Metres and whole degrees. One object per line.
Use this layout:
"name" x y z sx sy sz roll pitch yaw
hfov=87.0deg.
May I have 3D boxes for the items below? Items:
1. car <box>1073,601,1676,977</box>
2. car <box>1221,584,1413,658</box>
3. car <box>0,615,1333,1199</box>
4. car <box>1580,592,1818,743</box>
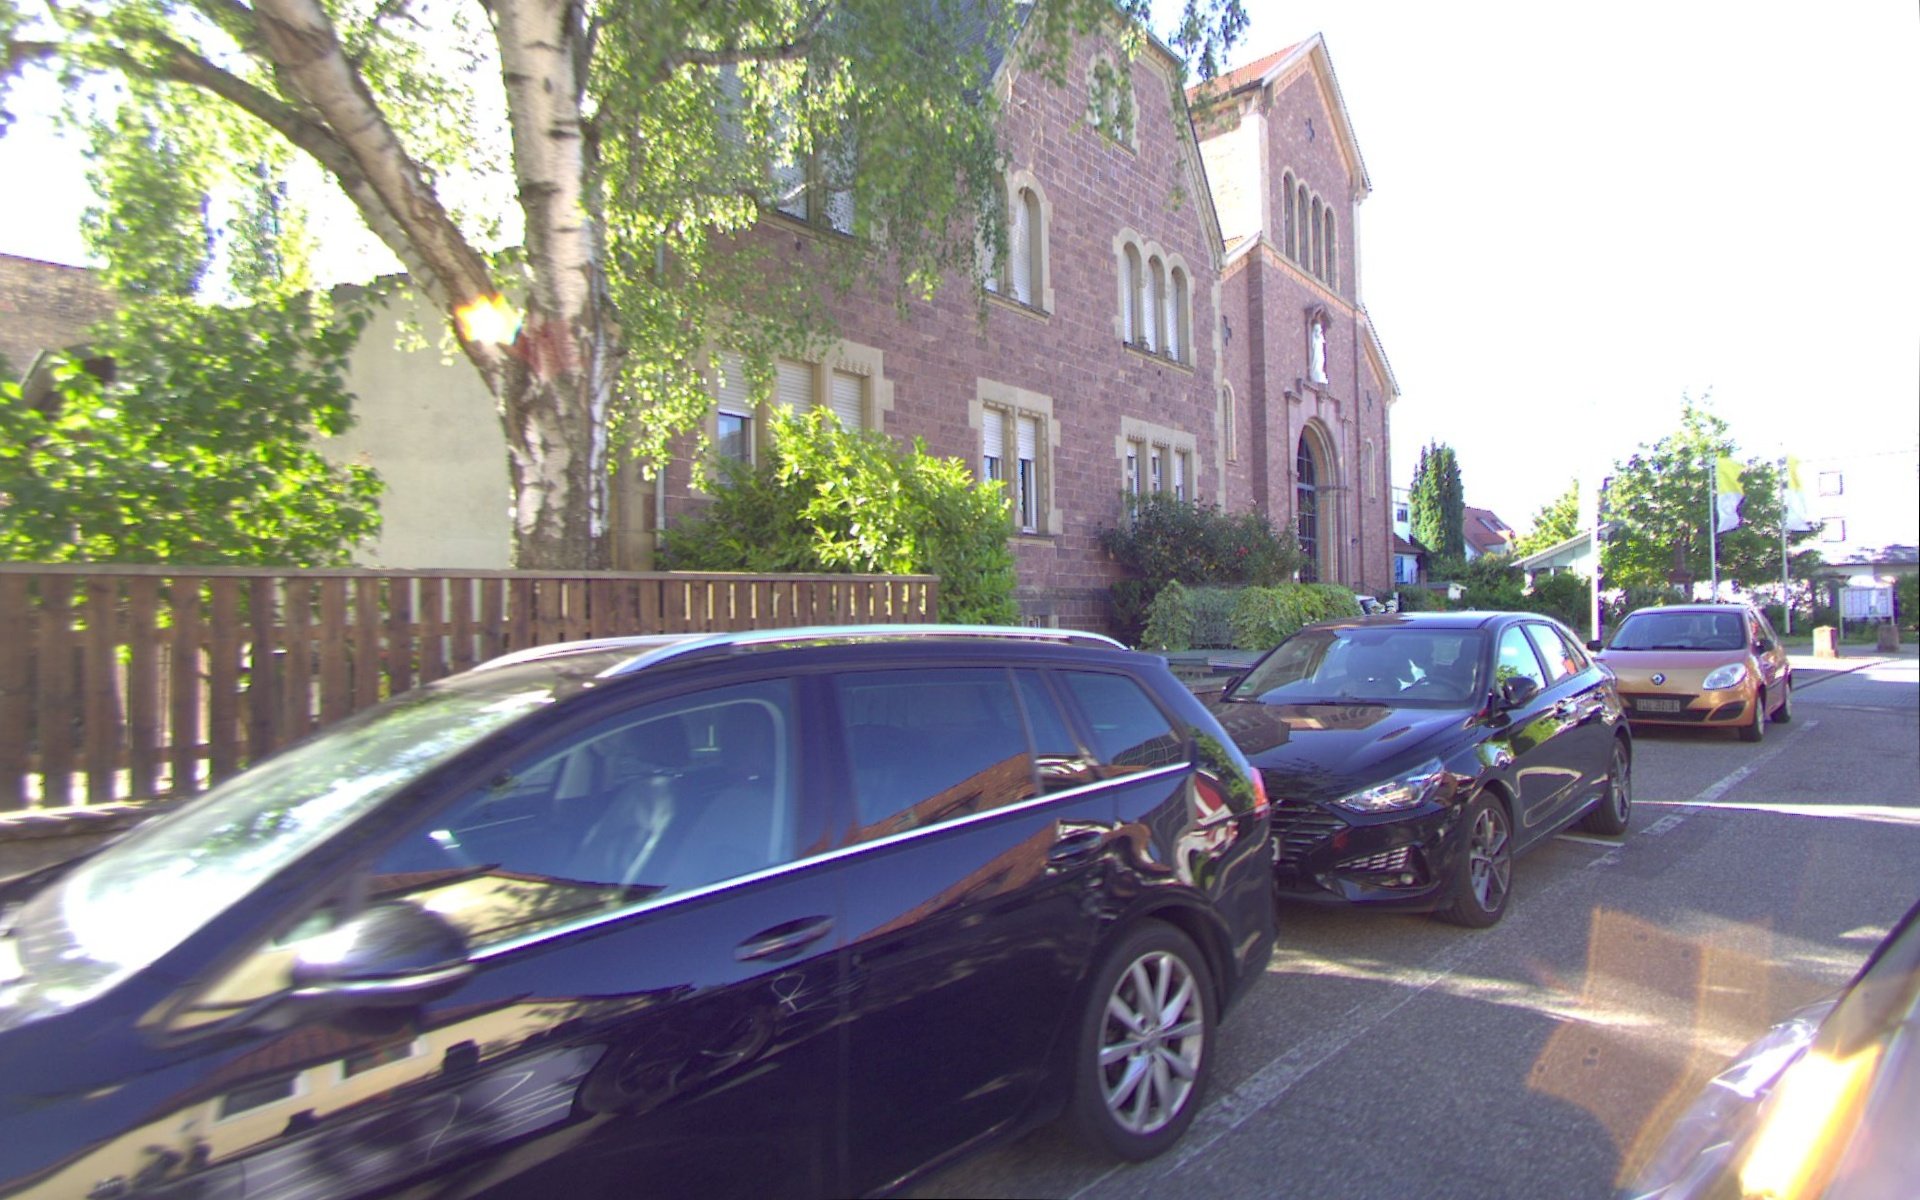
"car" 2.728 0.768 6.073 4.215 1.454 1.808 0 -3 -45
"car" 8.409 0.426 23.999 3.894 1.514 1.877 2 3 41
"car" -1.050 0.813 2.441 4.210 1.454 1.810 0 -2 -41
"car" 8.896 0.706 12.060 3.869 1.498 1.648 0 -3 -45
